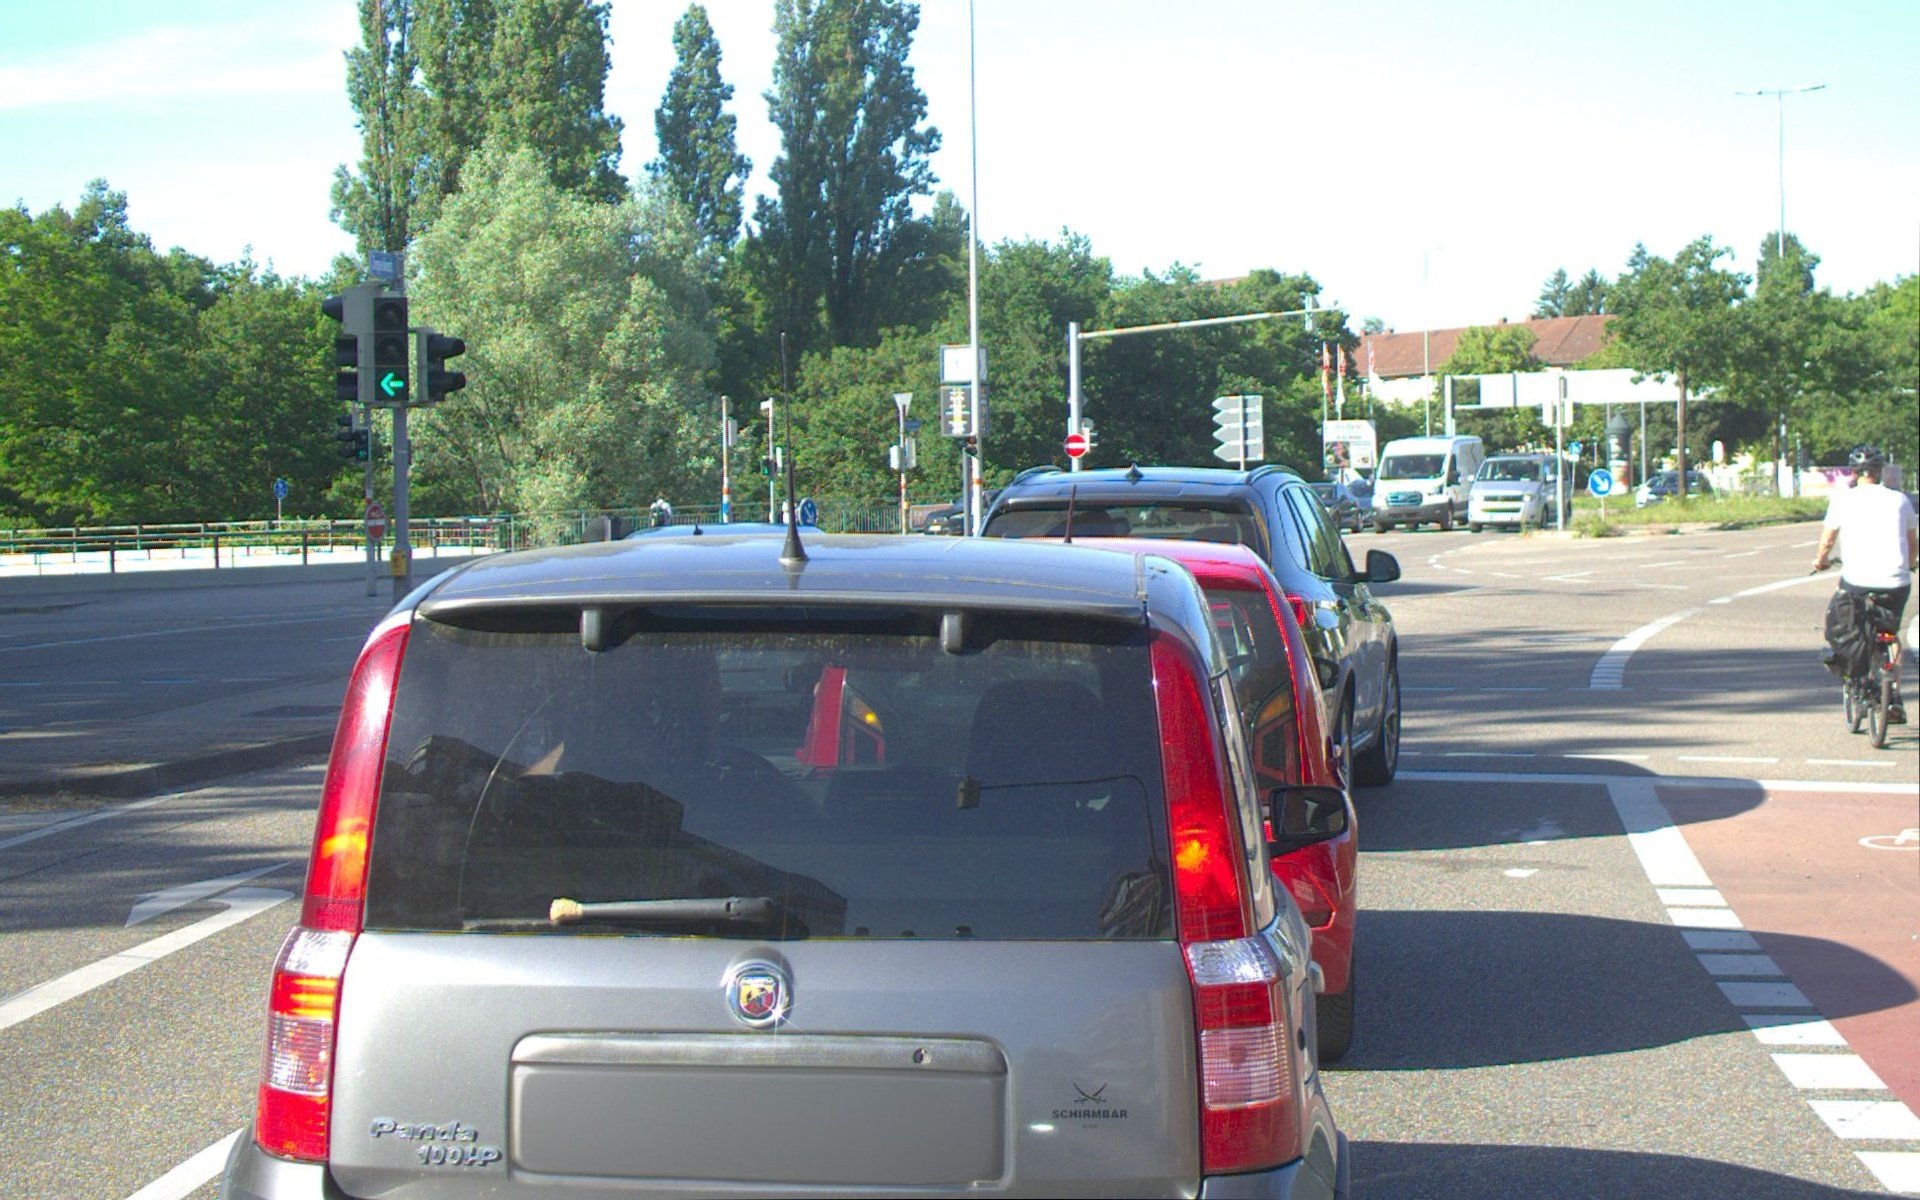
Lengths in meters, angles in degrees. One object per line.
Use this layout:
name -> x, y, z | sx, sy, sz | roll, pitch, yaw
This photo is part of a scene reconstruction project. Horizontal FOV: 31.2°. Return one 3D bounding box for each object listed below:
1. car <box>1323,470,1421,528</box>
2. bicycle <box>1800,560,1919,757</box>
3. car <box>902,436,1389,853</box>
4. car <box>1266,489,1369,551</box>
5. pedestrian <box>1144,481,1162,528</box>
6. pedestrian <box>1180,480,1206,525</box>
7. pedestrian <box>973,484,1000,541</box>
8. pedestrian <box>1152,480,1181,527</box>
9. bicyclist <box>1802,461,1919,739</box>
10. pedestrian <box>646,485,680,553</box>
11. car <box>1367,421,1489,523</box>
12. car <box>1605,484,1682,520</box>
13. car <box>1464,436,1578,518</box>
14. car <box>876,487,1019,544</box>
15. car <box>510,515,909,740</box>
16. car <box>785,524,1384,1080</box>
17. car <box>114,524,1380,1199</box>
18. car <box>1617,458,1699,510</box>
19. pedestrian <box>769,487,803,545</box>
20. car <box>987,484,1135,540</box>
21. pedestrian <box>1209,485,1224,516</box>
car -> 11.807, -2.906, 98.311 | 1.812, 1.536, 4.613 | -2, 2, 19
bicycle -> 5.561, 0.330, 21.046 | 0.691, 1.098, 1.825 | 0, 2, 10
car -> 1.068, 0.130, 17.291 | 1.946, 1.833, 4.151 | -1, 2, 10
car -> 9.573, -2.152, 91.720 | 1.938, 1.502, 3.997 | -2, 2, 17
pedestrian -> 6.930, -3.424, 123.362 | 0.499, 1.696, 0.499 | 1, 0, 24
pedestrian -> 8.638, -3.620, 127.482 | 0.721, 1.635, 0.671 | 1, 0, 25
pedestrian -> 0.726, -2.388, 94.016 | 0.556, 1.542, 0.576 | -2, 1, -16
pedestrian -> 7.403, -3.442, 123.034 | 0.791, 1.658, 0.628 | 1, 0, 40
bicyclist -> 5.568, -0.021, 21.041 | 0.724, 1.654, 1.112 | 0, 2, 10
pedestrian -> -6.456, -1.764, 74.744 | 0.679, 1.458, 0.703 | -1, 2, -6
car -> 12.392, -3.379, 90.713 | 1.938, 2.567, 6.083 | 0, 2, 20
car -> 29.189, -4.193, 146.736 | 1.997, 1.443, 3.993 | 1, 1, 30
car -> 14.189, -3.116, 86.728 | 1.938, 2.001, 4.927 | 0, 2, 20
car -> -0.379, -2.541, 104.141 | 3.988, 1.619, 1.900 | 0, 1, -38
car -> -1.688, 0.127, 24.690 | 1.781, 1.410, 4.317 | 0, 2, 11
car -> 0.493, 0.520, 11.265 | 1.618, 1.458, 3.750 | -1, 2, 5
car -> -0.118, 0.655, 6.302 | 1.618, 1.510, 3.819 | -1, 2, 5
car -> 22.566, -3.751, 110.985 | 1.938, 1.616, 4.502 | 0, 2, 20
pedestrian -> -4.765, -2.297, 94.208 | 0.709, 1.542, 0.729 | -2, 0, -16
car -> 3.018, -2.631, 101.931 | 4.317, 1.530, 1.784 | -3, 4, -41
pedestrian -> 9.507, -3.668, 127.211 | 0.424, 1.132, 0.397 | 1, 0, 25
